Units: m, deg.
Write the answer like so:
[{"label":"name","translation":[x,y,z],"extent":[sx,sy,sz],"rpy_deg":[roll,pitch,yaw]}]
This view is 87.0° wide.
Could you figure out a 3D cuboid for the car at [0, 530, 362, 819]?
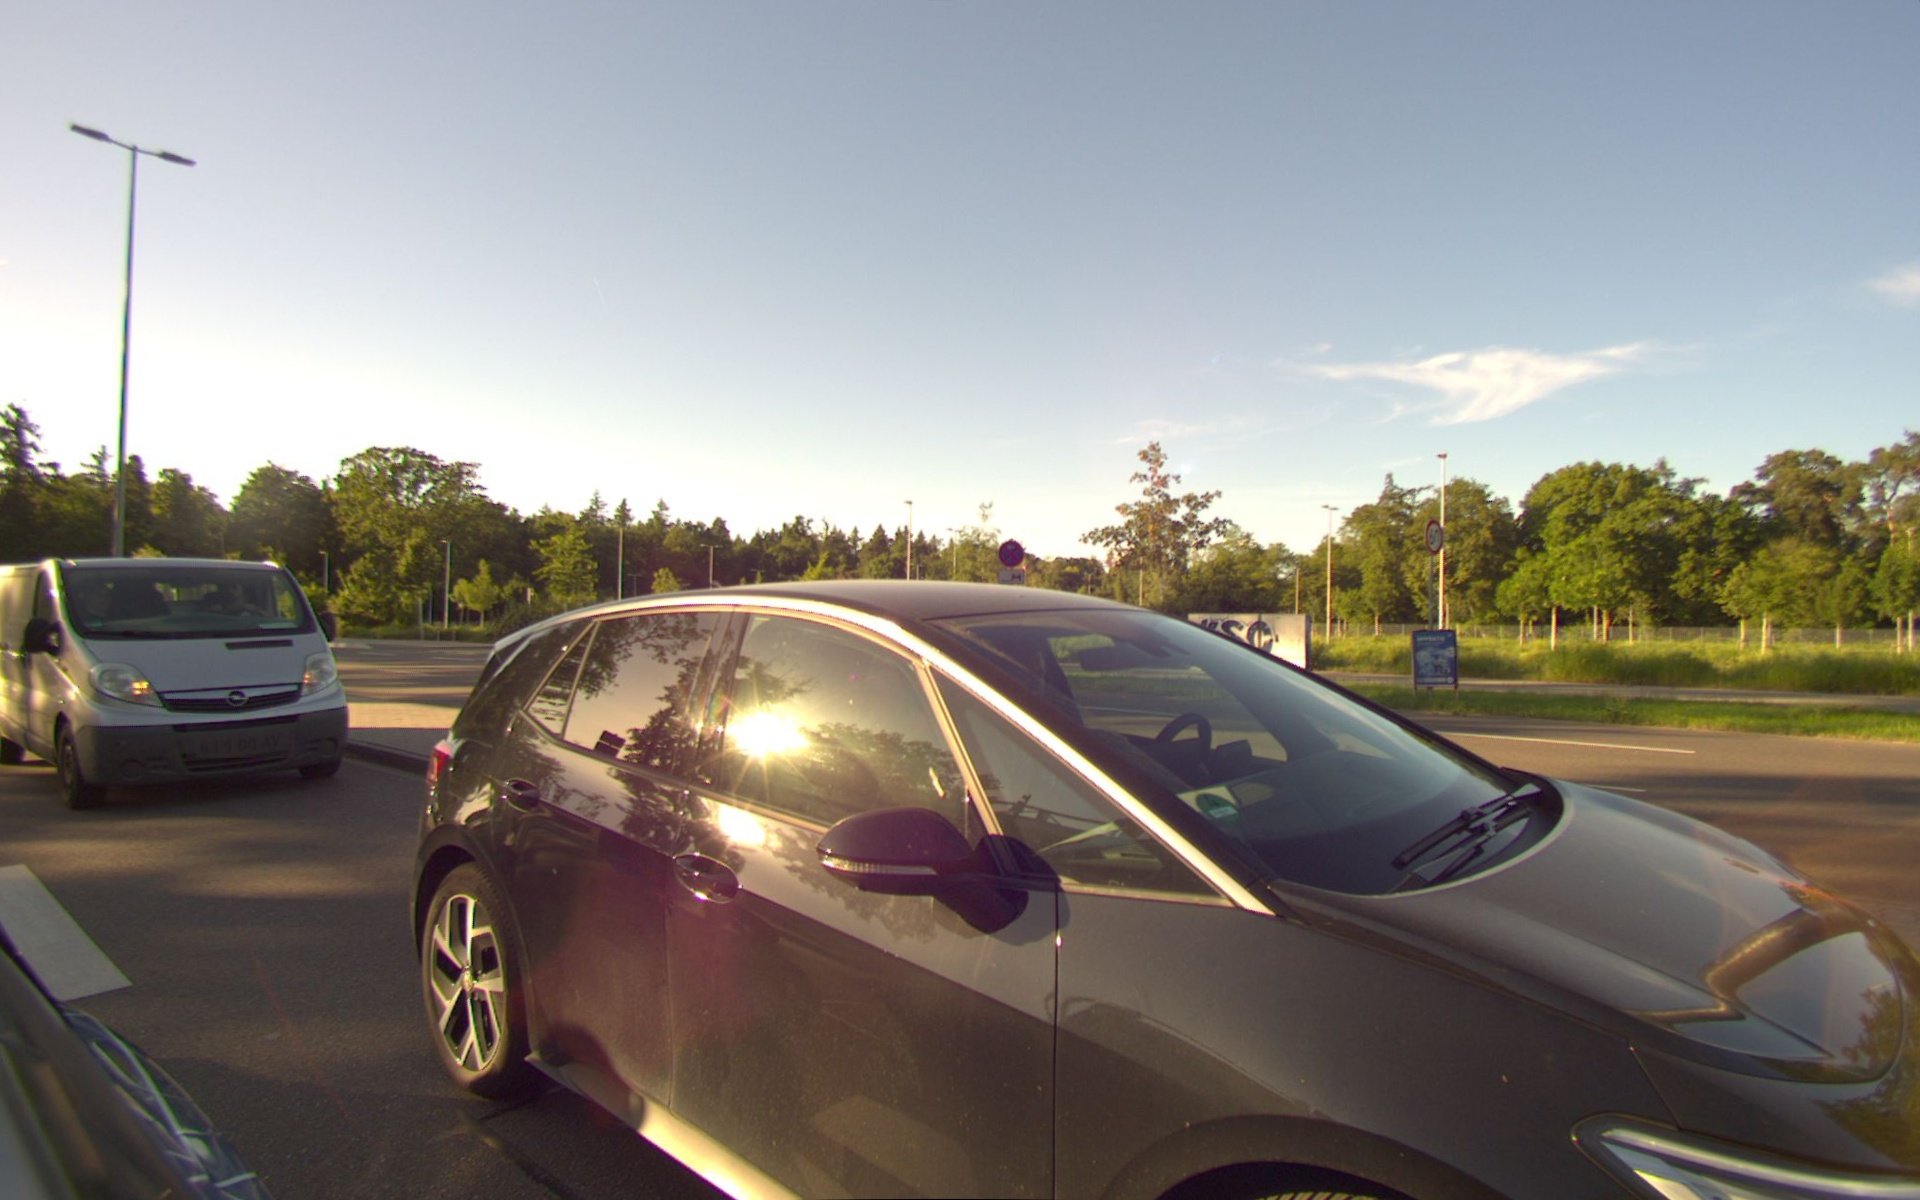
[{"label":"car","translation":[-7.473,0.551,9.280],"extent":[5.045,1.977,1.859],"rpy_deg":[-1,-1,40]}]

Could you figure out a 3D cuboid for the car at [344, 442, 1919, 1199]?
[{"label":"car","translation":[0.192,0.640,2.595],"extent":[3.997,1.548,1.859],"rpy_deg":[0,0,40]}]
